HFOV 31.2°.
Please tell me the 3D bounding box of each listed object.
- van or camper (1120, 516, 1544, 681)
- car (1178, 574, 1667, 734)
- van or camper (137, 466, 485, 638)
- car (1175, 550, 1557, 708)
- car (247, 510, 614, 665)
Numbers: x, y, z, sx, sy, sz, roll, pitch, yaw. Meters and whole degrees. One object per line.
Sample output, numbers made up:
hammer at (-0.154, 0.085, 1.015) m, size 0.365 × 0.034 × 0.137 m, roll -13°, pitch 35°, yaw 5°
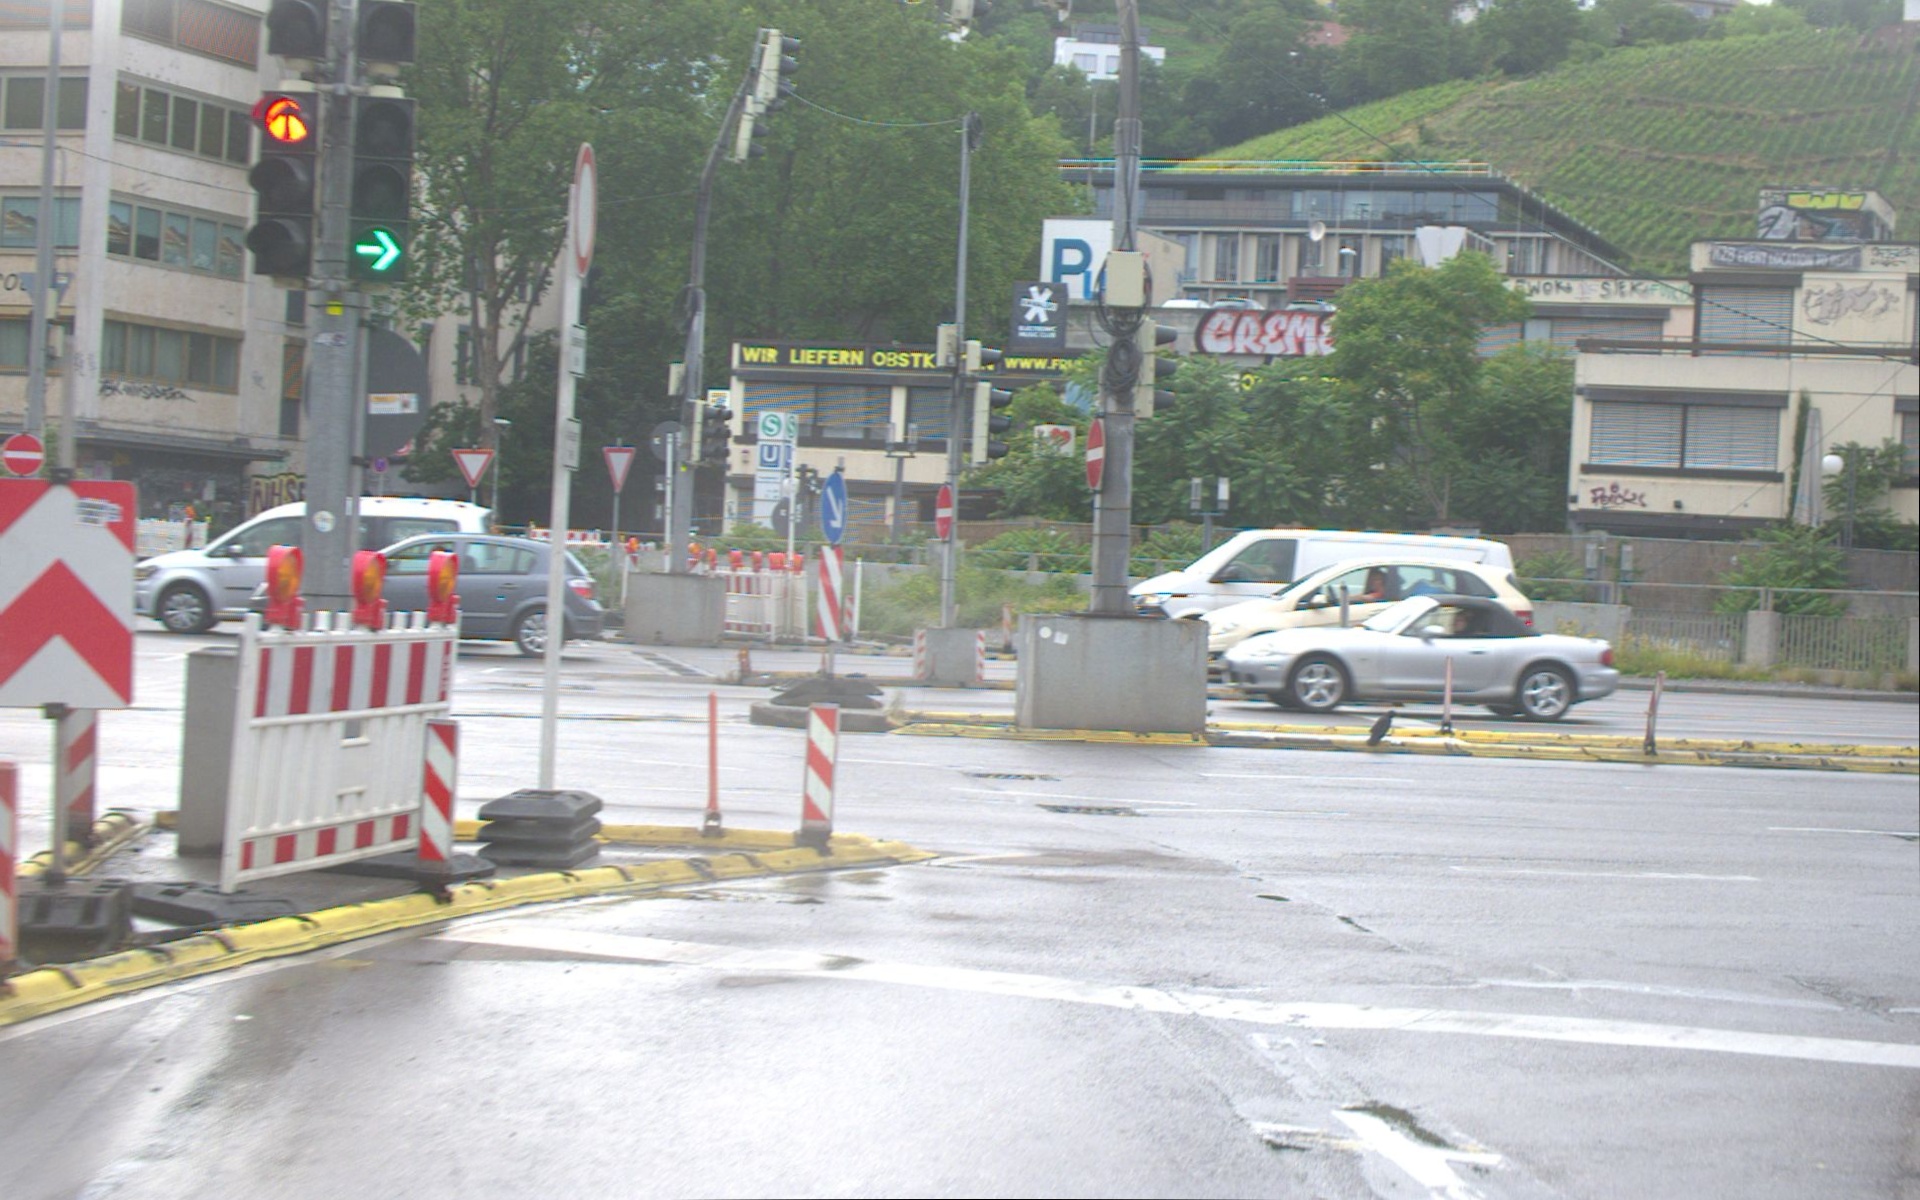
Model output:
van or camper at (4.877, -0.036, 45.457) m, size 5.194 × 1.887 × 1.888 m, roll 3°, pitch 1°, yaw -7°
car at (4.561, 0.523, 34.238) m, size 4.514 × 1.305 × 1.643 m, roll 3°, pitch 1°, yaw -5°
van or camper at (-8.359, -0.626, 44.608) m, size 4.241 × 1.972 × 1.852 m, roll 3°, pitch 1°, yaw -7°
car at (4.956, 0.340, 42.384) m, size 4.365 × 1.667 × 1.848 m, roll 3°, pitch 1°, yaw -2°
car at (-6.276, -0.161, 41.008) m, size 4.166 × 1.593 × 1.852 m, roll 3°, pitch 1°, yaw -7°
